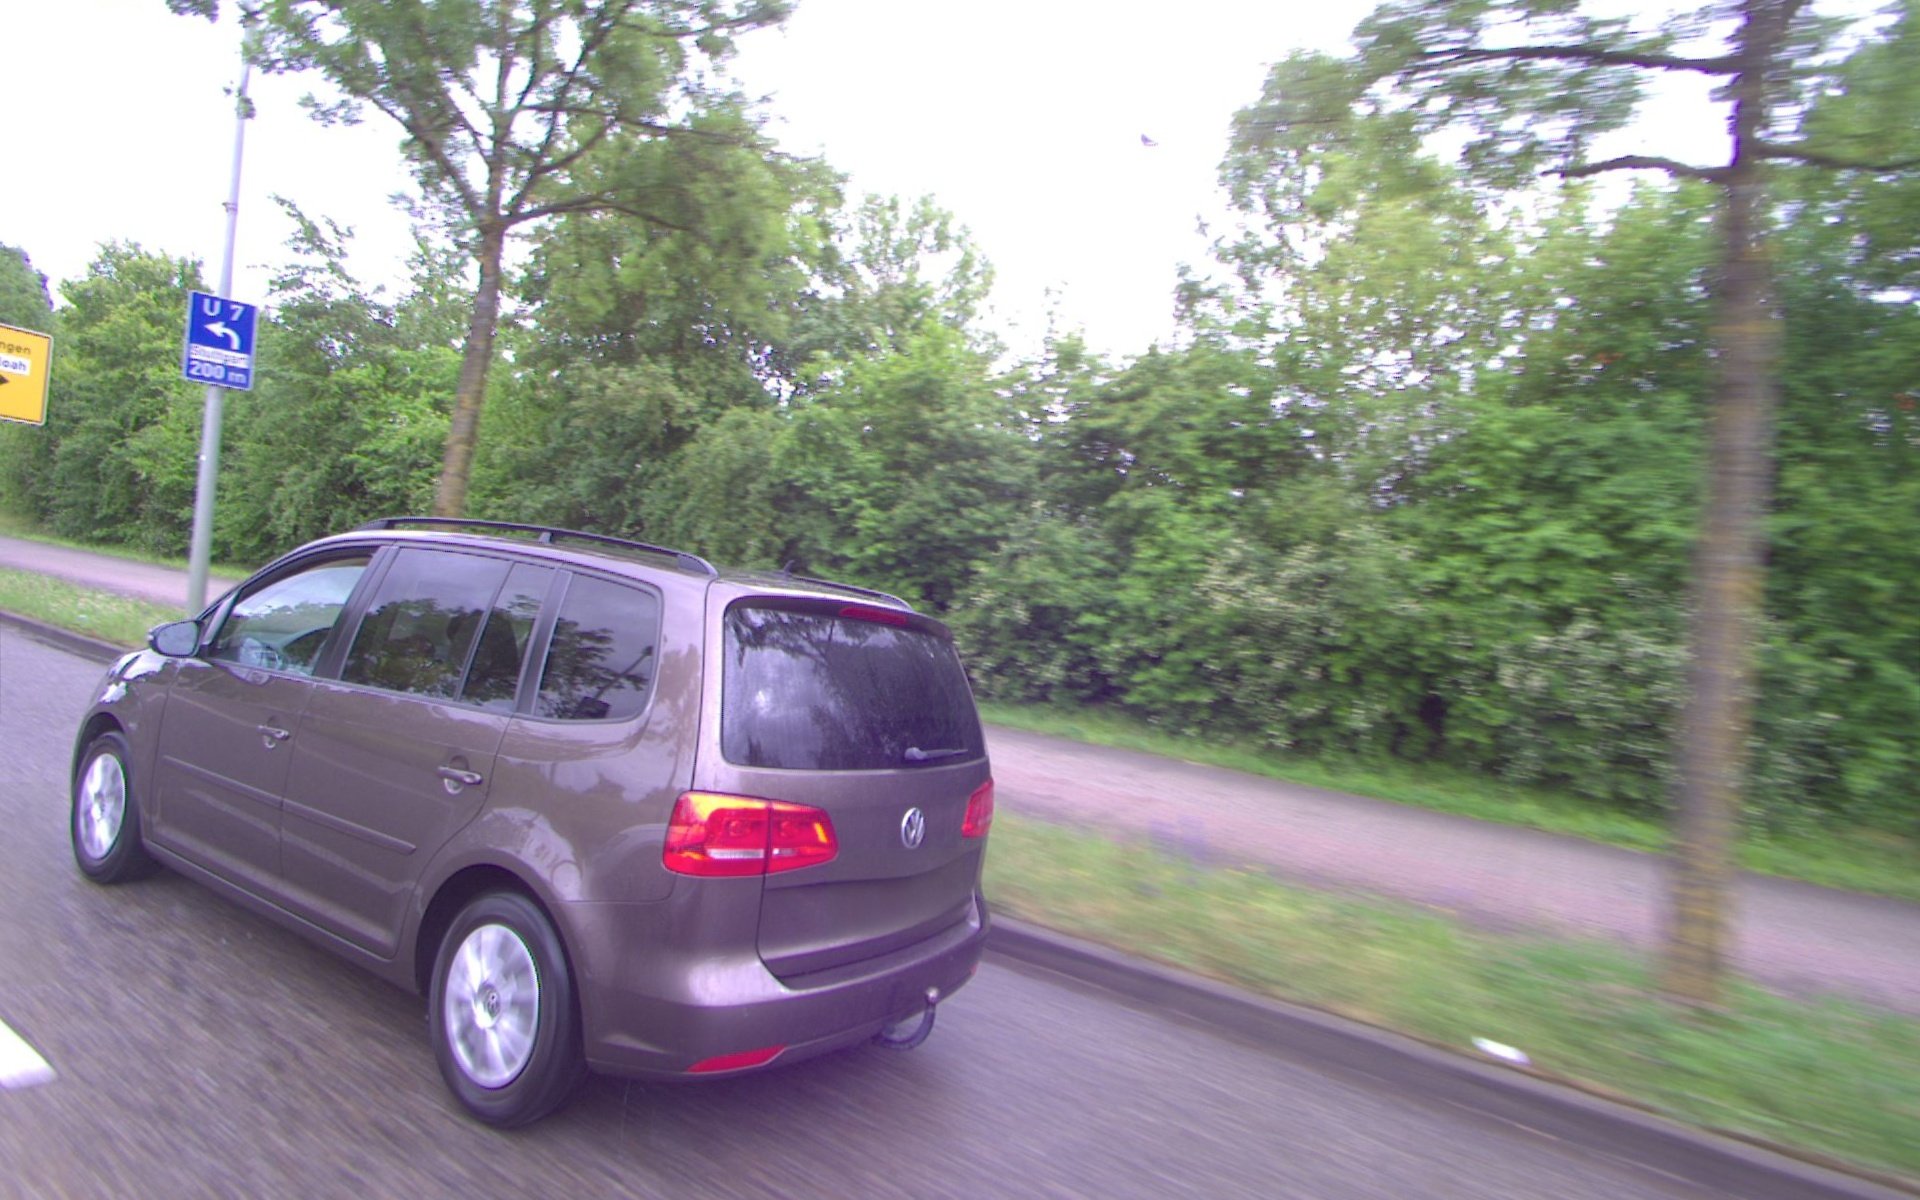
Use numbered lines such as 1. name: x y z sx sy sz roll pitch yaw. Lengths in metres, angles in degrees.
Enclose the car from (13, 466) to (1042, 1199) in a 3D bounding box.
1. car: -1.940 0.485 4.125 4.062 1.615 1.717 7 -1 32
